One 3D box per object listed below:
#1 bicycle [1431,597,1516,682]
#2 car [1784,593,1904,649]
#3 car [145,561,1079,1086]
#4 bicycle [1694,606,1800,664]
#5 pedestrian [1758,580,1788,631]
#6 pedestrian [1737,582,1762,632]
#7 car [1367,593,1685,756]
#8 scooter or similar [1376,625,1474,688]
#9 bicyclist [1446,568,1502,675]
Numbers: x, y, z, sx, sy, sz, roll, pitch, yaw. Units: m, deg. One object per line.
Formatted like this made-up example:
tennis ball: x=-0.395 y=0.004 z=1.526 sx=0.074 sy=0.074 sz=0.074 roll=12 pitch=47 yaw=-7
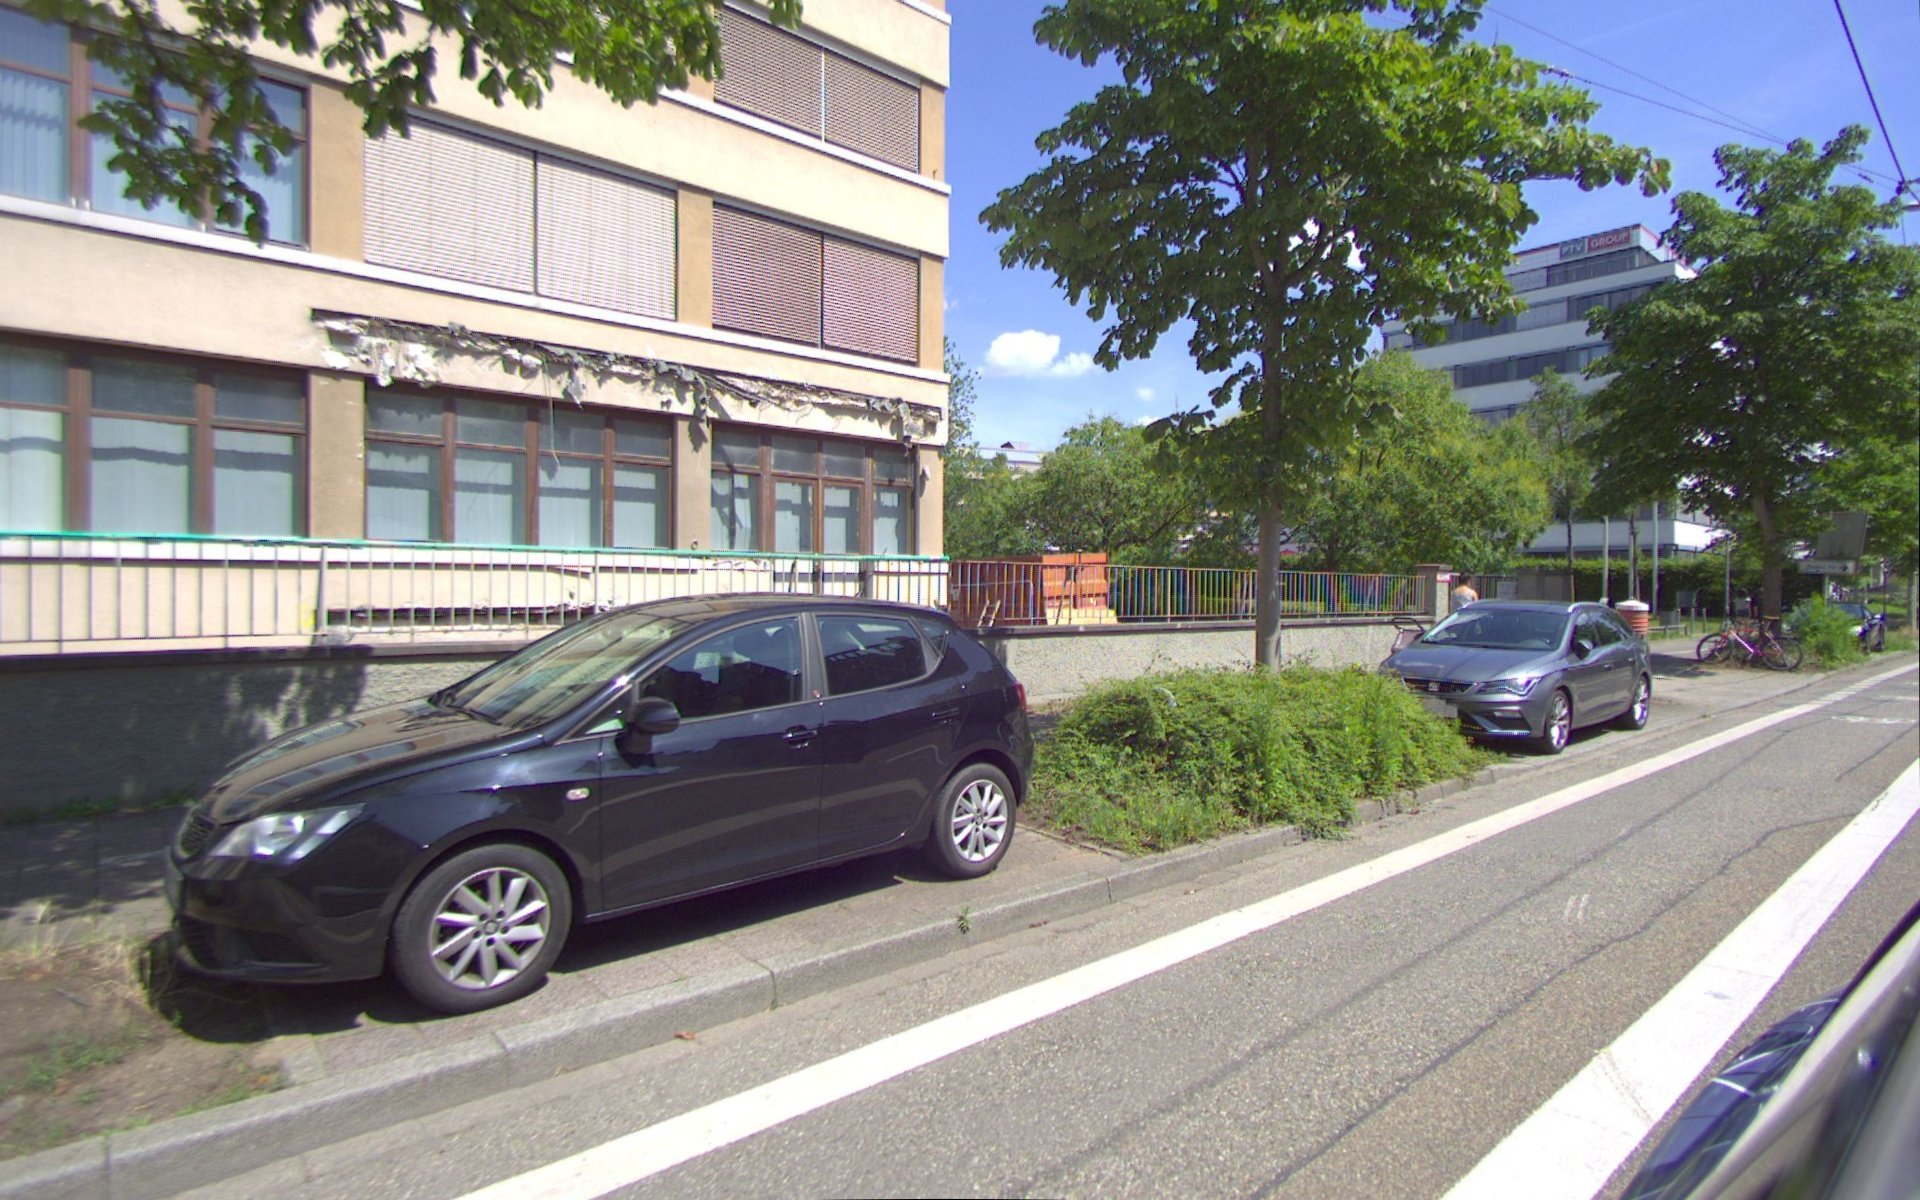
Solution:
bicycle: x=8.289 y=0.603 z=16.314 sx=1.743 sy=1.281 sz=0.556 roll=0 pitch=3 yaw=-41
car: x=22.378 y=0.501 z=25.591 sx=3.766 sy=1.287 sz=1.754 roll=-1 pitch=-1 yaw=-41
car: x=-1.355 y=0.617 z=4.845 sx=3.912 sy=1.508 sz=1.674 roll=-1 pitch=1 yaw=-42
bicycle: x=15.545 y=0.666 z=20.025 sx=0.552 sy=1.073 sz=1.588 roll=0 pitch=1 yaw=-41
pedestrian: x=26.064 y=0.159 z=32.443 sx=0.600 sy=1.593 sz=0.620 roll=0 pitch=2 yaw=-40
pedestrian: x=25.639 y=0.223 z=32.877 sx=0.535 sy=1.593 sz=0.514 roll=0 pitch=1 yaw=-40
car: x=6.420 y=0.652 z=11.216 sx=4.667 sy=1.426 sz=1.674 roll=-1 pitch=1 yaw=-42
scooter or similar: x=7.031 y=0.831 z=15.267 sx=1.528 sy=0.817 sz=0.763 roll=0 pitch=2 yaw=-41
bicyclist: x=8.272 y=0.333 z=16.279 sx=0.589 sy=1.668 sz=0.581 roll=0 pitch=2 yaw=-41
